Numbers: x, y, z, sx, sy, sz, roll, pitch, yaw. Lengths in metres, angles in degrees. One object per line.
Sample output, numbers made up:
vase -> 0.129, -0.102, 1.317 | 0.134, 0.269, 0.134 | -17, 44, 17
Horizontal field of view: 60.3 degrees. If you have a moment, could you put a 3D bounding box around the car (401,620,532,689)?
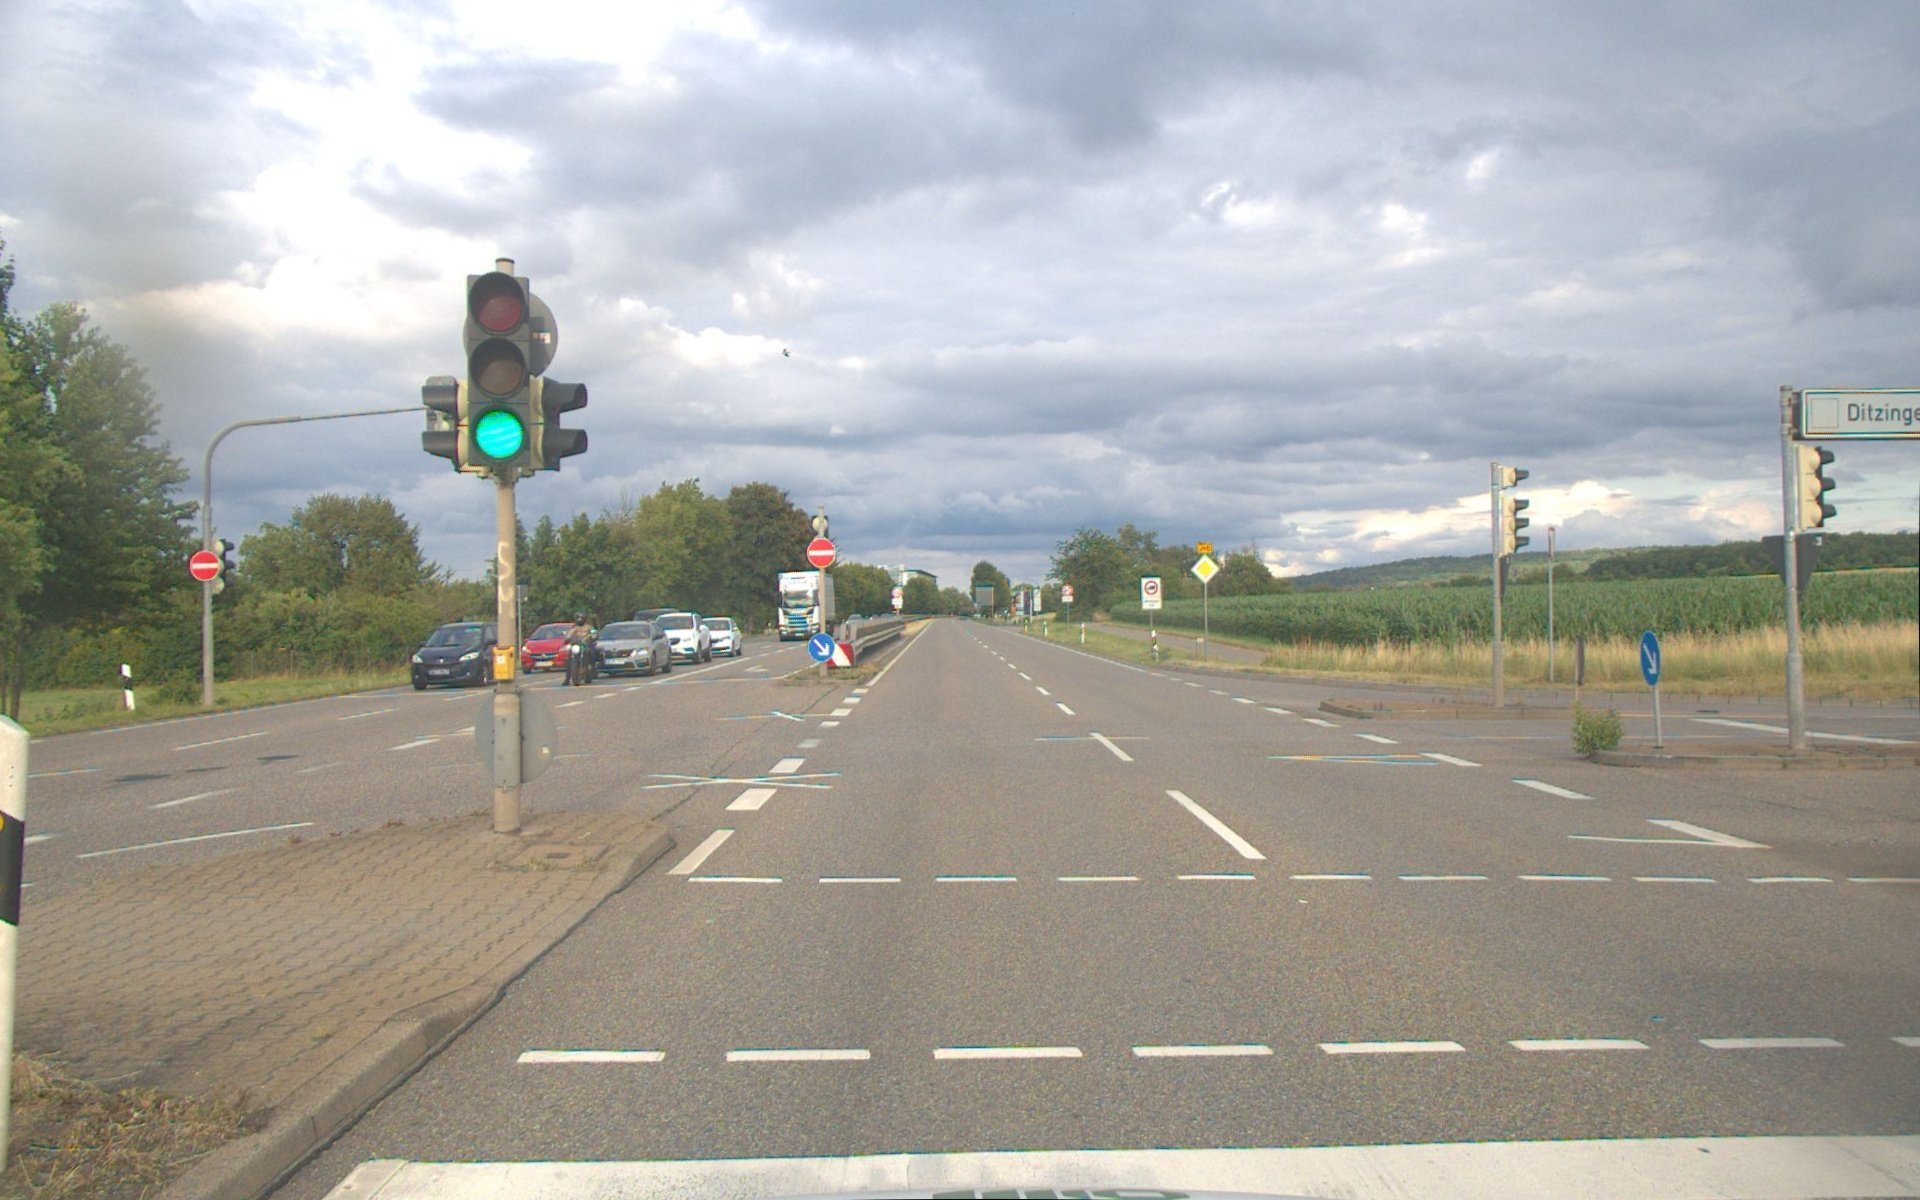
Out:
car -> -12.470, 1.340, 42.128 | 1.869, 1.562, 4.937 | -2, 0, -1

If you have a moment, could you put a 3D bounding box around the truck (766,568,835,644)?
truck -> -9.413, 0.352, 98.157 | 3.404, 4.223, 6.048 | -3, -1, -1

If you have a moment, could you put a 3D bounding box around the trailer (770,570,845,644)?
trailer -> -9.466, 0.477, 104.467 | 3.395, 4.223, 13.913 | -3, 0, -1

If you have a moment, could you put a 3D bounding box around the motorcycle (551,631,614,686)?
motorcycle -> -8.938, 1.363, 39.248 | 0.897, 1.224, 2.478 | -2, -1, 0

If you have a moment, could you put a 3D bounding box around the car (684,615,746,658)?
car -> -9.170, 1.348, 62.199 | 1.752, 1.470, 4.159 | -2, 0, -1

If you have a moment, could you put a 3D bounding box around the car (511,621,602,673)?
car -> -12.604, 1.435, 51.915 | 1.869, 1.490, 4.183 | -2, 0, -1

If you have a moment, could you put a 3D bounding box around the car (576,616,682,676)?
car -> -8.877, 1.191, 44.804 | 1.869, 1.453, 5.151 | -2, 0, -1

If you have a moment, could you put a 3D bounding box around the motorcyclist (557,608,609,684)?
motorcyclist -> -8.938, 1.078, 39.251 | 0.897, 1.738, 1.276 | -2, -1, 0

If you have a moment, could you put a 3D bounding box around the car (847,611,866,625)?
car -> -10.843, 1.873, 173.484 | 1.752, 1.410, 4.159 | -2, 0, -1

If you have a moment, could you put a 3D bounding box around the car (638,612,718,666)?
car -> -9.163, 1.231, 54.046 | 1.869, 1.638, 4.404 | -2, 0, -1
